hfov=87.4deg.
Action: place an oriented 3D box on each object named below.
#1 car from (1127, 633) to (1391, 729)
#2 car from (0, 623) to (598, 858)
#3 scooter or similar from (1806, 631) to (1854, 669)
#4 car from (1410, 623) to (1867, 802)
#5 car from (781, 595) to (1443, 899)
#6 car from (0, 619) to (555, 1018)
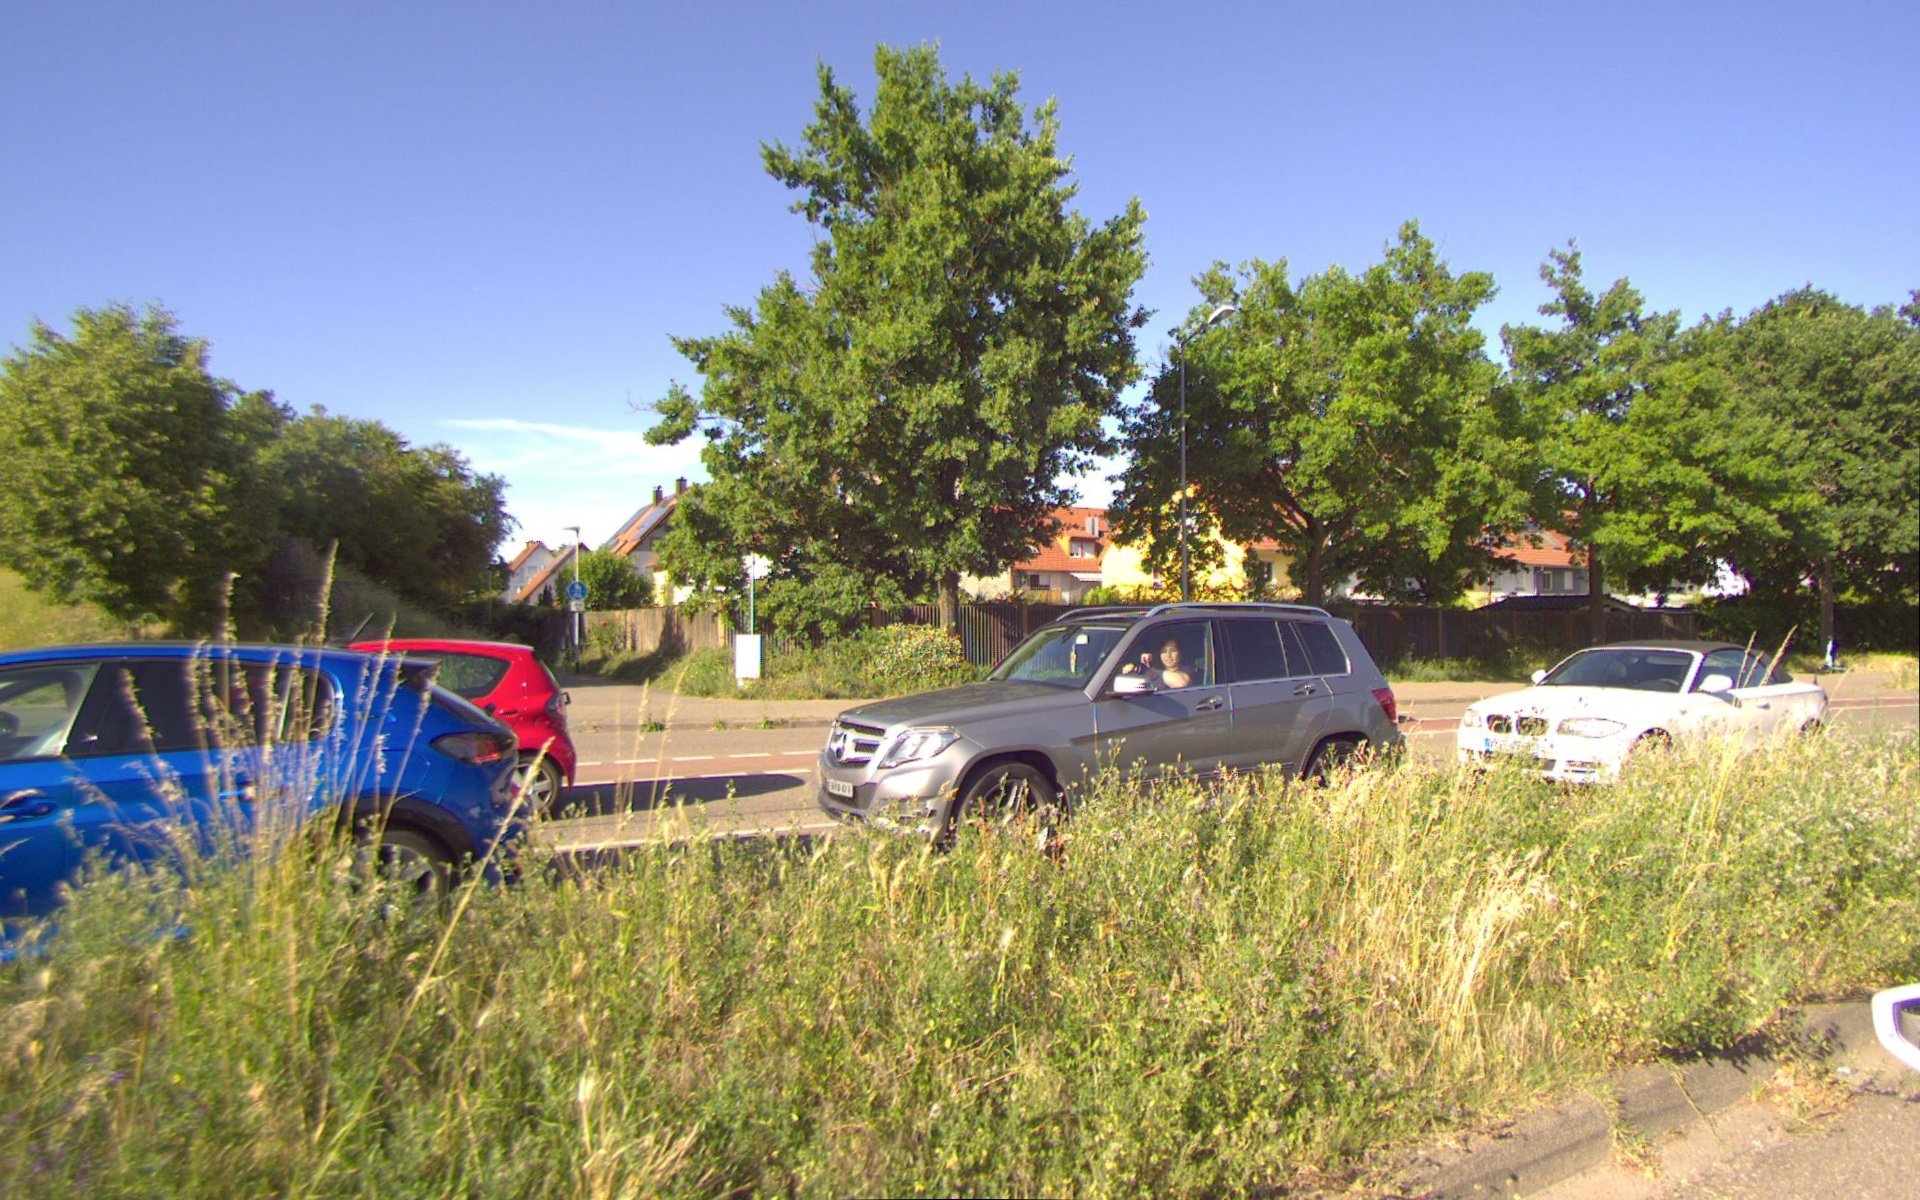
[{"bbox_3d":[4.951,1.300,16.755,3.936,1.449,1.709,0,-3,-18],"label":"car"},{"bbox_3d":[-4.908,0.953,8.040,3.664,1.503,1.640,0,-2,-26],"label":"car"},{"bbox_3d":[29.464,1.690,34.020,1.389,1.235,0.539,-1,1,-13],"label":"scooter or similar"},{"bbox_3d":[6.927,0.985,10.234,4.341,1.469,1.987,0,-2,-27],"label":"car"},{"bbox_3d":[1.139,0.837,7.331,4.471,1.637,1.987,0,-2,-27],"label":"car"},{"bbox_3d":[-3.974,0.856,4.620,3.836,1.503,1.741,0,-2,-26],"label":"car"}]
